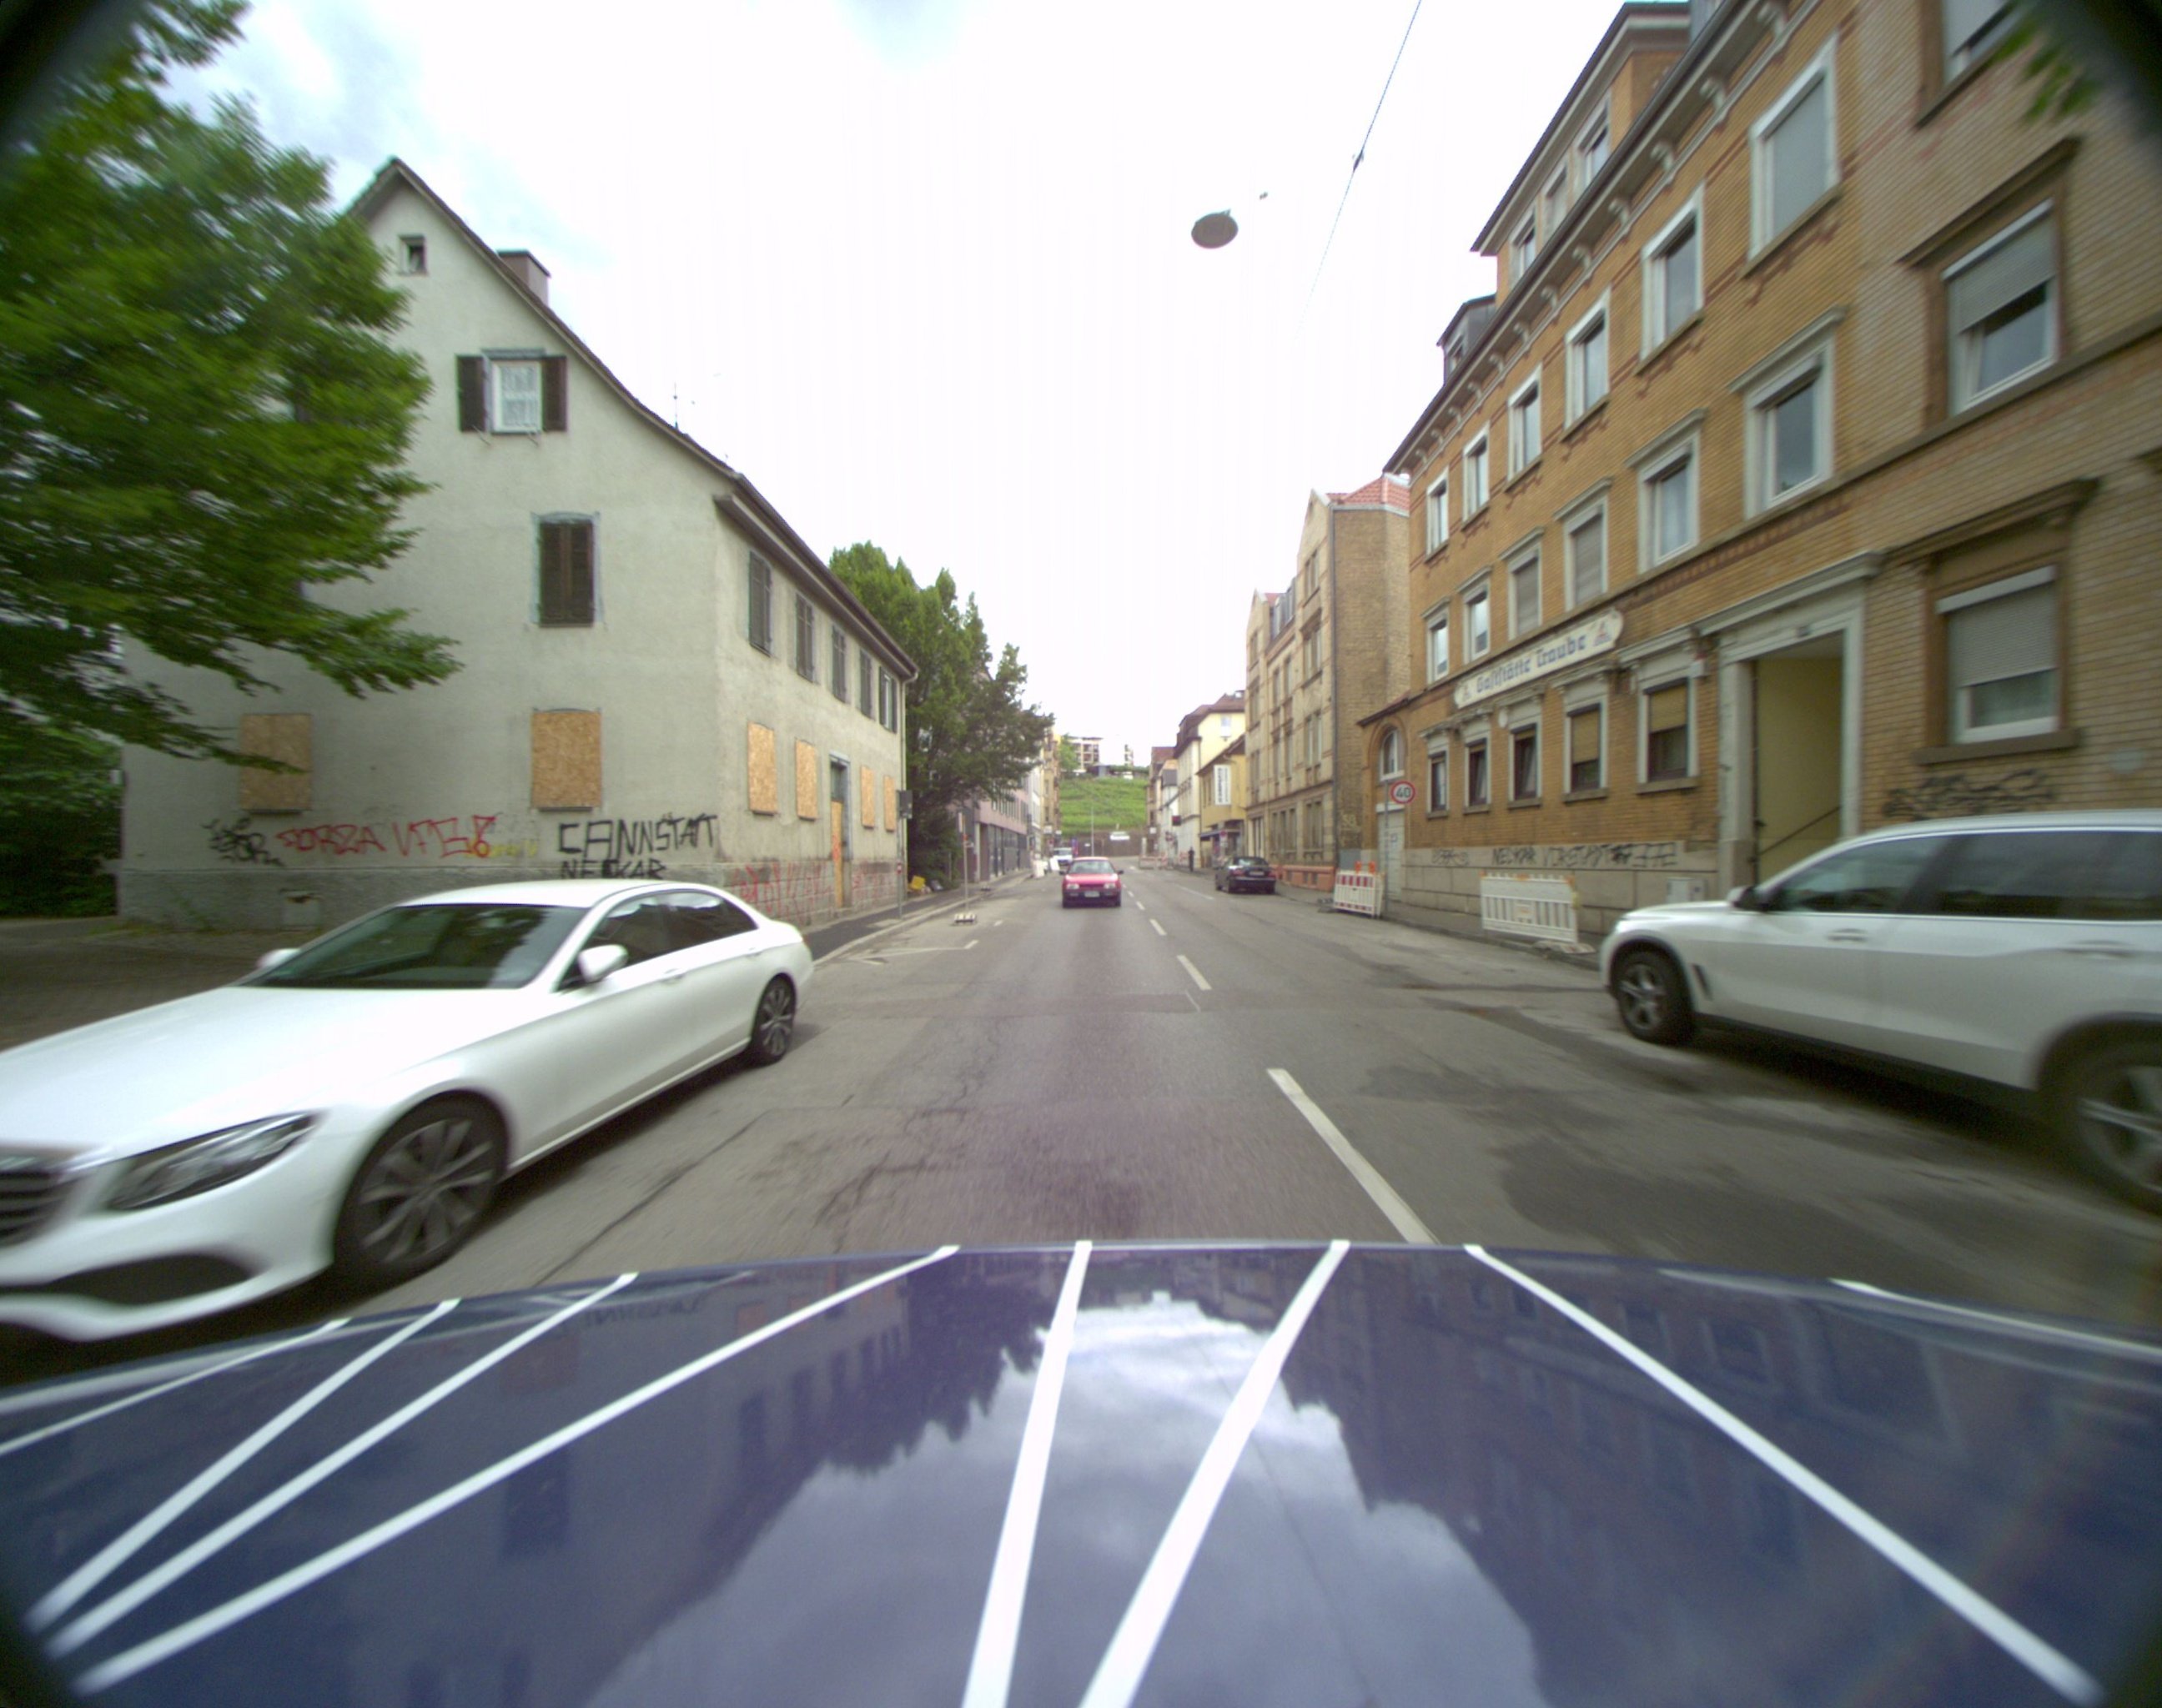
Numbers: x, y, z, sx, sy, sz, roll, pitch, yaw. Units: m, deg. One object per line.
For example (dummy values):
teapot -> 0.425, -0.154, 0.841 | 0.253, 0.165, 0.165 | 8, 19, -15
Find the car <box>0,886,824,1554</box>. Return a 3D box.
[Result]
car -> -3.325, 1.053, 4.372 | 1.771, 1.457, 4.784 | -1, 1, 4

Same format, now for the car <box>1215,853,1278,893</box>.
car -> 6.261, 0.676, 29.197 | 1.582, 1.375, 4.354 | 1, 1, 2

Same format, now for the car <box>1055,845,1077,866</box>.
car -> -1.417, 0.145, 74.984 | 1.998, 1.970, 4.877 | -1, 1, 0

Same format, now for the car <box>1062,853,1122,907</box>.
car -> 0.394, 0.712, 22.644 | 1.626, 1.387, 4.000 | -1, 1, 3

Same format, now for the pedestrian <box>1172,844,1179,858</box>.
pedestrian -> 10.314, -0.319, 82.809 | 0.602, 1.557, 0.607 | -2, 2, 1

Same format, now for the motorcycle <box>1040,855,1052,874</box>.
motorcycle -> -2.429, 0.718, 53.158 | 0.648, 1.219, 2.337 | -2, 1, 1

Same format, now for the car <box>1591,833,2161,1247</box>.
car -> 5.434, 0.772, 4.319 | 1.895, 1.702, 4.740 | 1, 1, 1

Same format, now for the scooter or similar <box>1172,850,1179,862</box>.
scooter or similar -> 10.320, 0.226, 82.777 | 0.561, 1.283, 1.227 | -2, 2, 1

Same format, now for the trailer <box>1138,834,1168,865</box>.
trailer -> 6.686, -0.461, 71.297 | 2.450, 2.788, 6.303 | 1, 1, 3
